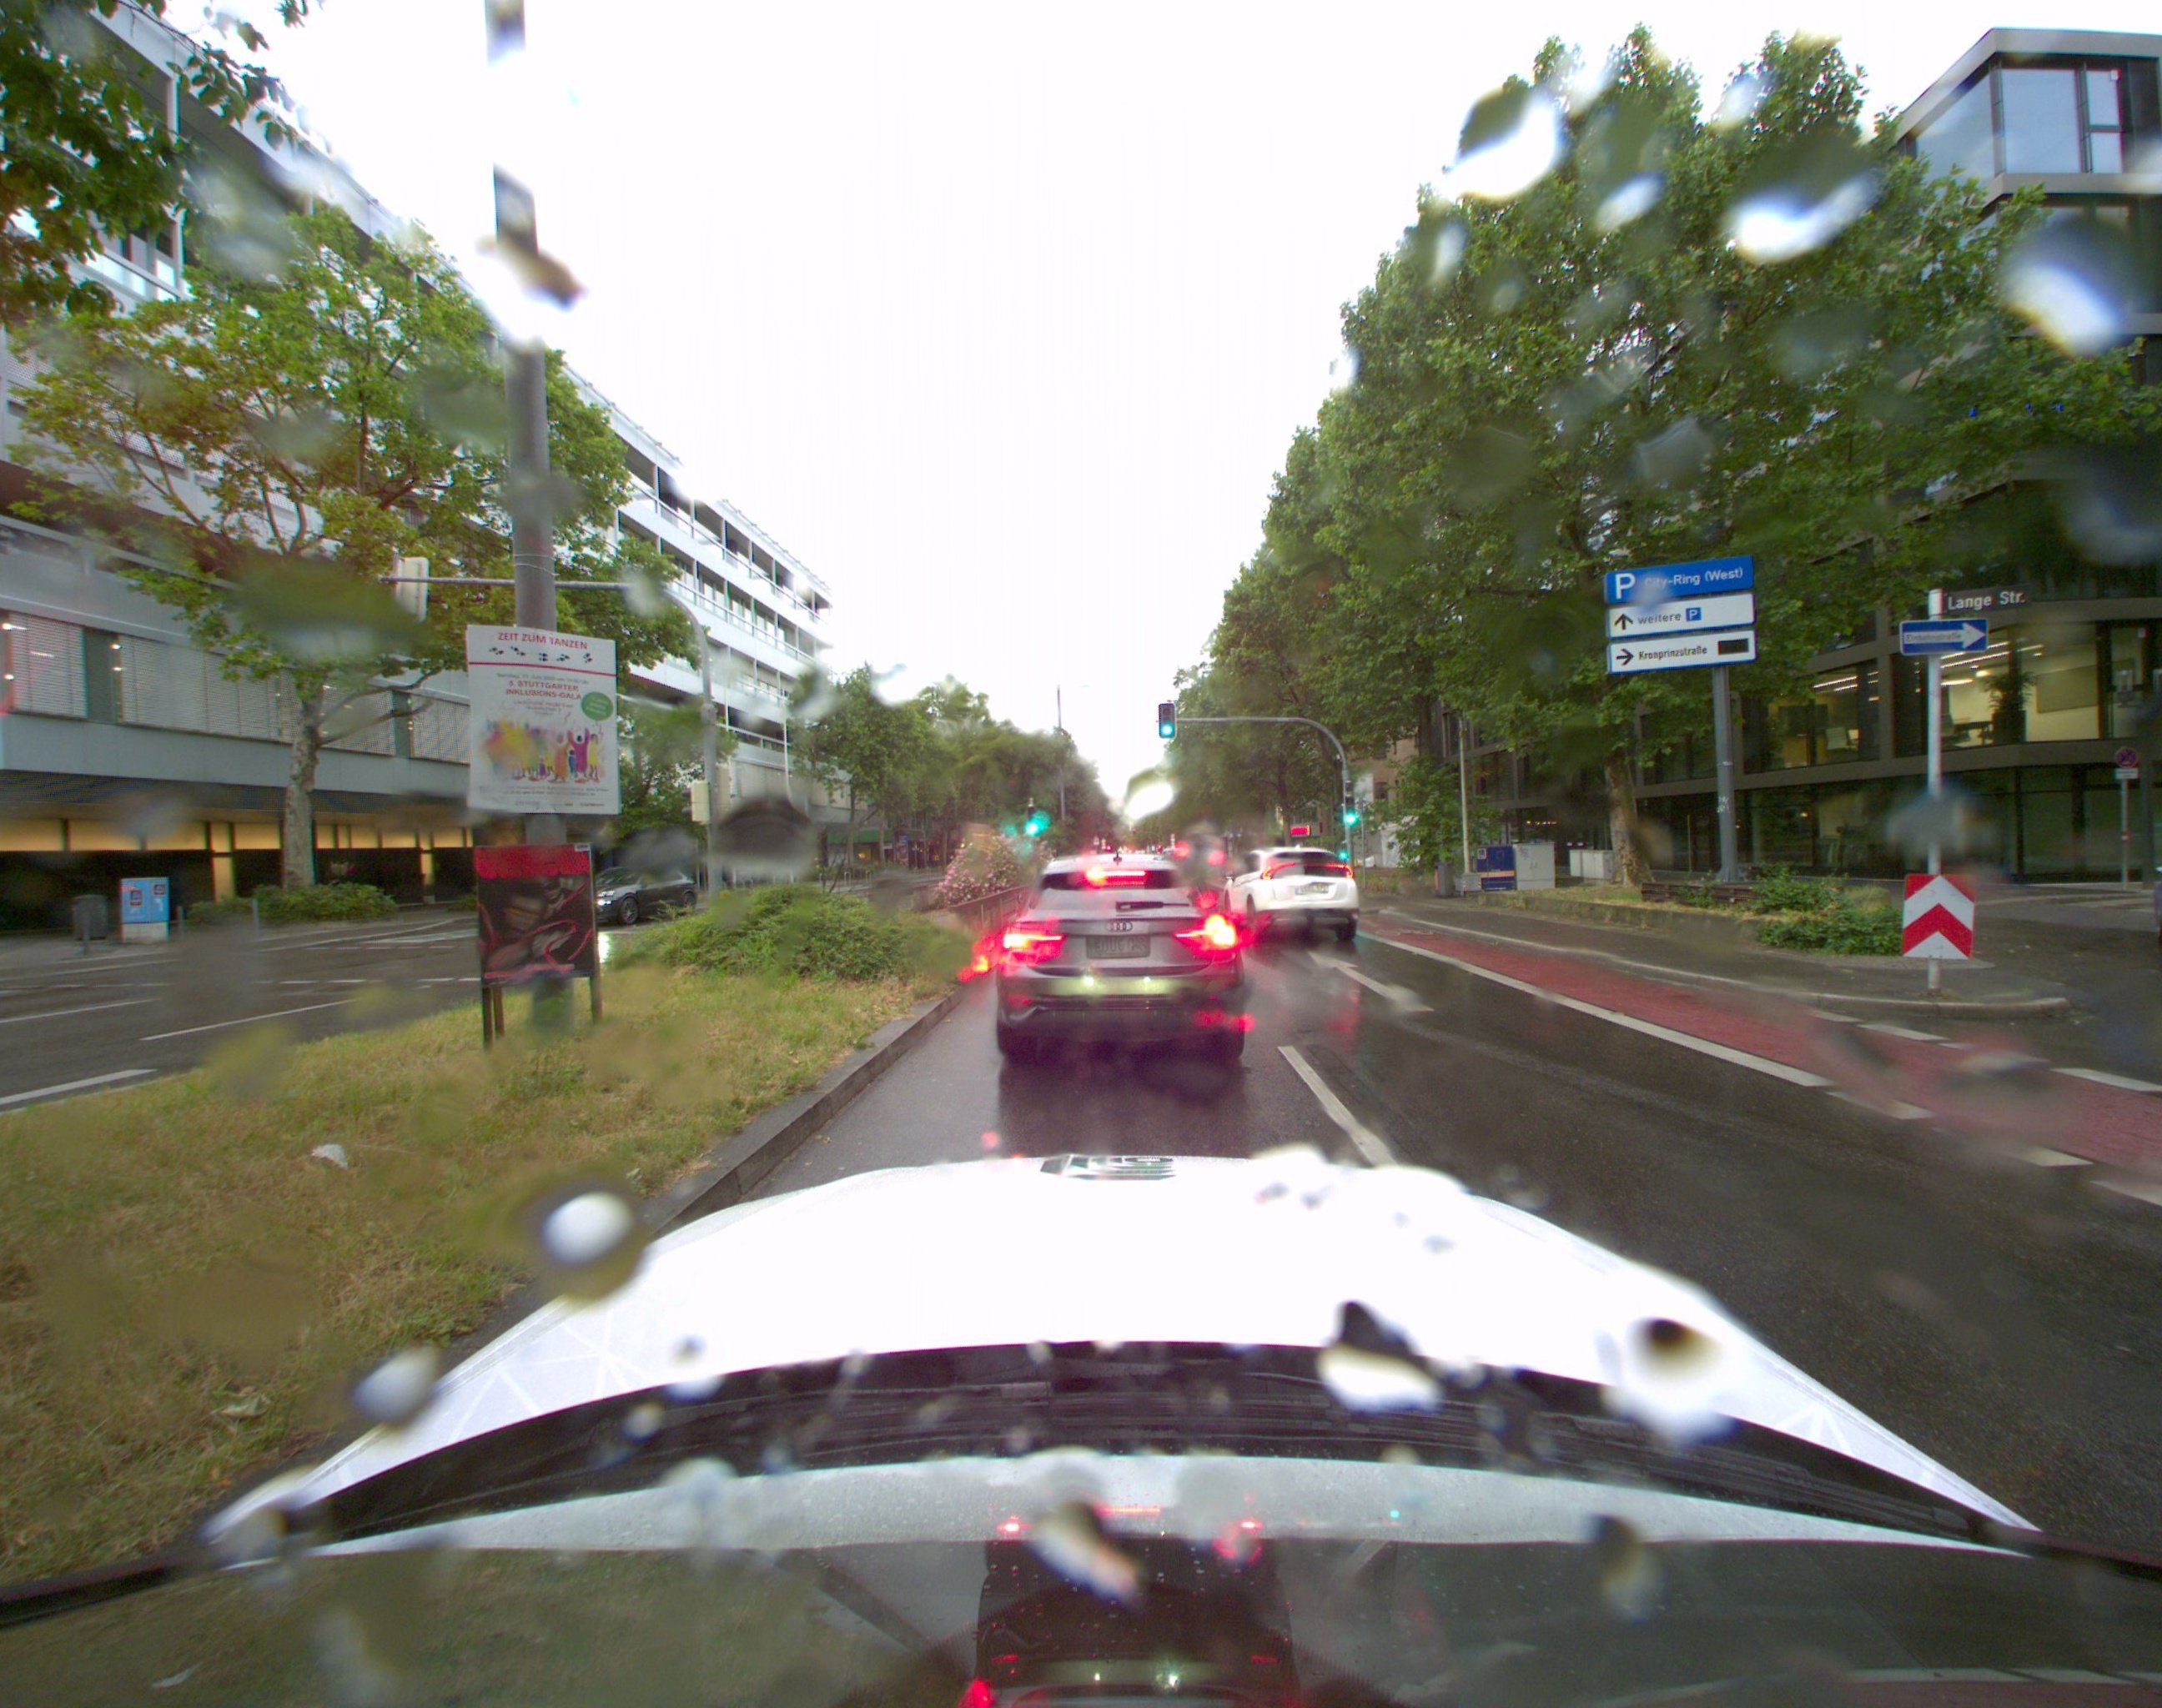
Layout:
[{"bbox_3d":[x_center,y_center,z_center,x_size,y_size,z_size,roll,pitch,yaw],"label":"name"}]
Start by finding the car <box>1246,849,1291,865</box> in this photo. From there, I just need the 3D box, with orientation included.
[{"bbox_3d":[13.483,0.230,58.576,2.856,1.074,1.465,-1,-1,33],"label":"car"}]

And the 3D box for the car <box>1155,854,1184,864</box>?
[{"bbox_3d":[15.306,0.814,140.441,4.594,1.706,2.012,-1,-1,30],"label":"car"}]

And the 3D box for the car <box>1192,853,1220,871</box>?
[{"bbox_3d":[10.411,0.643,68.246,1.865,1.421,4.614,0,0,3],"label":"car"}]

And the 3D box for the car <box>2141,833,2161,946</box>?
[{"bbox_3d":[13.744,0.437,9.180,4.085,1.436,1.779,-1,-1,-43],"label":"car"}]

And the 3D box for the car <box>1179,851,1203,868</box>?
[{"bbox_3d":[10.650,0.557,78.981,1.723,1.571,4.070,0,-1,-2],"label":"car"}]

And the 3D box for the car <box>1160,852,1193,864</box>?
[{"bbox_3d":[14.482,0.583,123.409,4.594,1.706,2.012,-1,-1,30],"label":"car"}]

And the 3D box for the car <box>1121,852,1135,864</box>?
[{"bbox_3d":[7.078,0.634,121.975,1.986,1.726,4.002,0,-1,2],"label":"car"}]

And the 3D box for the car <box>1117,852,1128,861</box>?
[{"bbox_3d":[7.636,0.456,148.897,1.889,1.599,3.940,0,-1,2],"label":"car"}]

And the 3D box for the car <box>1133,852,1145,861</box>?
[{"bbox_3d":[10.736,0.416,151.057,1.985,1.651,4.003,0,-1,3],"label":"car"}]

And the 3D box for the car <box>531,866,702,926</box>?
[{"bbox_3d":[-13.356,1.144,23.844,1.900,1.584,4.754,0,-1,6],"label":"car"}]

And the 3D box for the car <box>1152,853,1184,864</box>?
[{"bbox_3d":[13.644,0.679,127.450,4.594,1.706,2.012,-1,-1,30],"label":"car"}]

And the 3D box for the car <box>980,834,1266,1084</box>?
[{"bbox_3d":[0.333,0.695,7.344,1.842,1.602,4.001,-1,0,2],"label":"car"}]

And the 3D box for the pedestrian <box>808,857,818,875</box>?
[{"bbox_3d":[-21.906,0.974,66.521,0.608,1.482,0.574,0,-1,-1],"label":"pedestrian"}]

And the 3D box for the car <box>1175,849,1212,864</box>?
[{"bbox_3d":[14.965,0.372,108.875,4.548,2.014,1.980,-1,-1,41],"label":"car"}]

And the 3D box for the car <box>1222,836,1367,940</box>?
[{"bbox_3d":[3.862,0.583,15.440,1.870,1.697,4.002,0,-1,3],"label":"car"}]
